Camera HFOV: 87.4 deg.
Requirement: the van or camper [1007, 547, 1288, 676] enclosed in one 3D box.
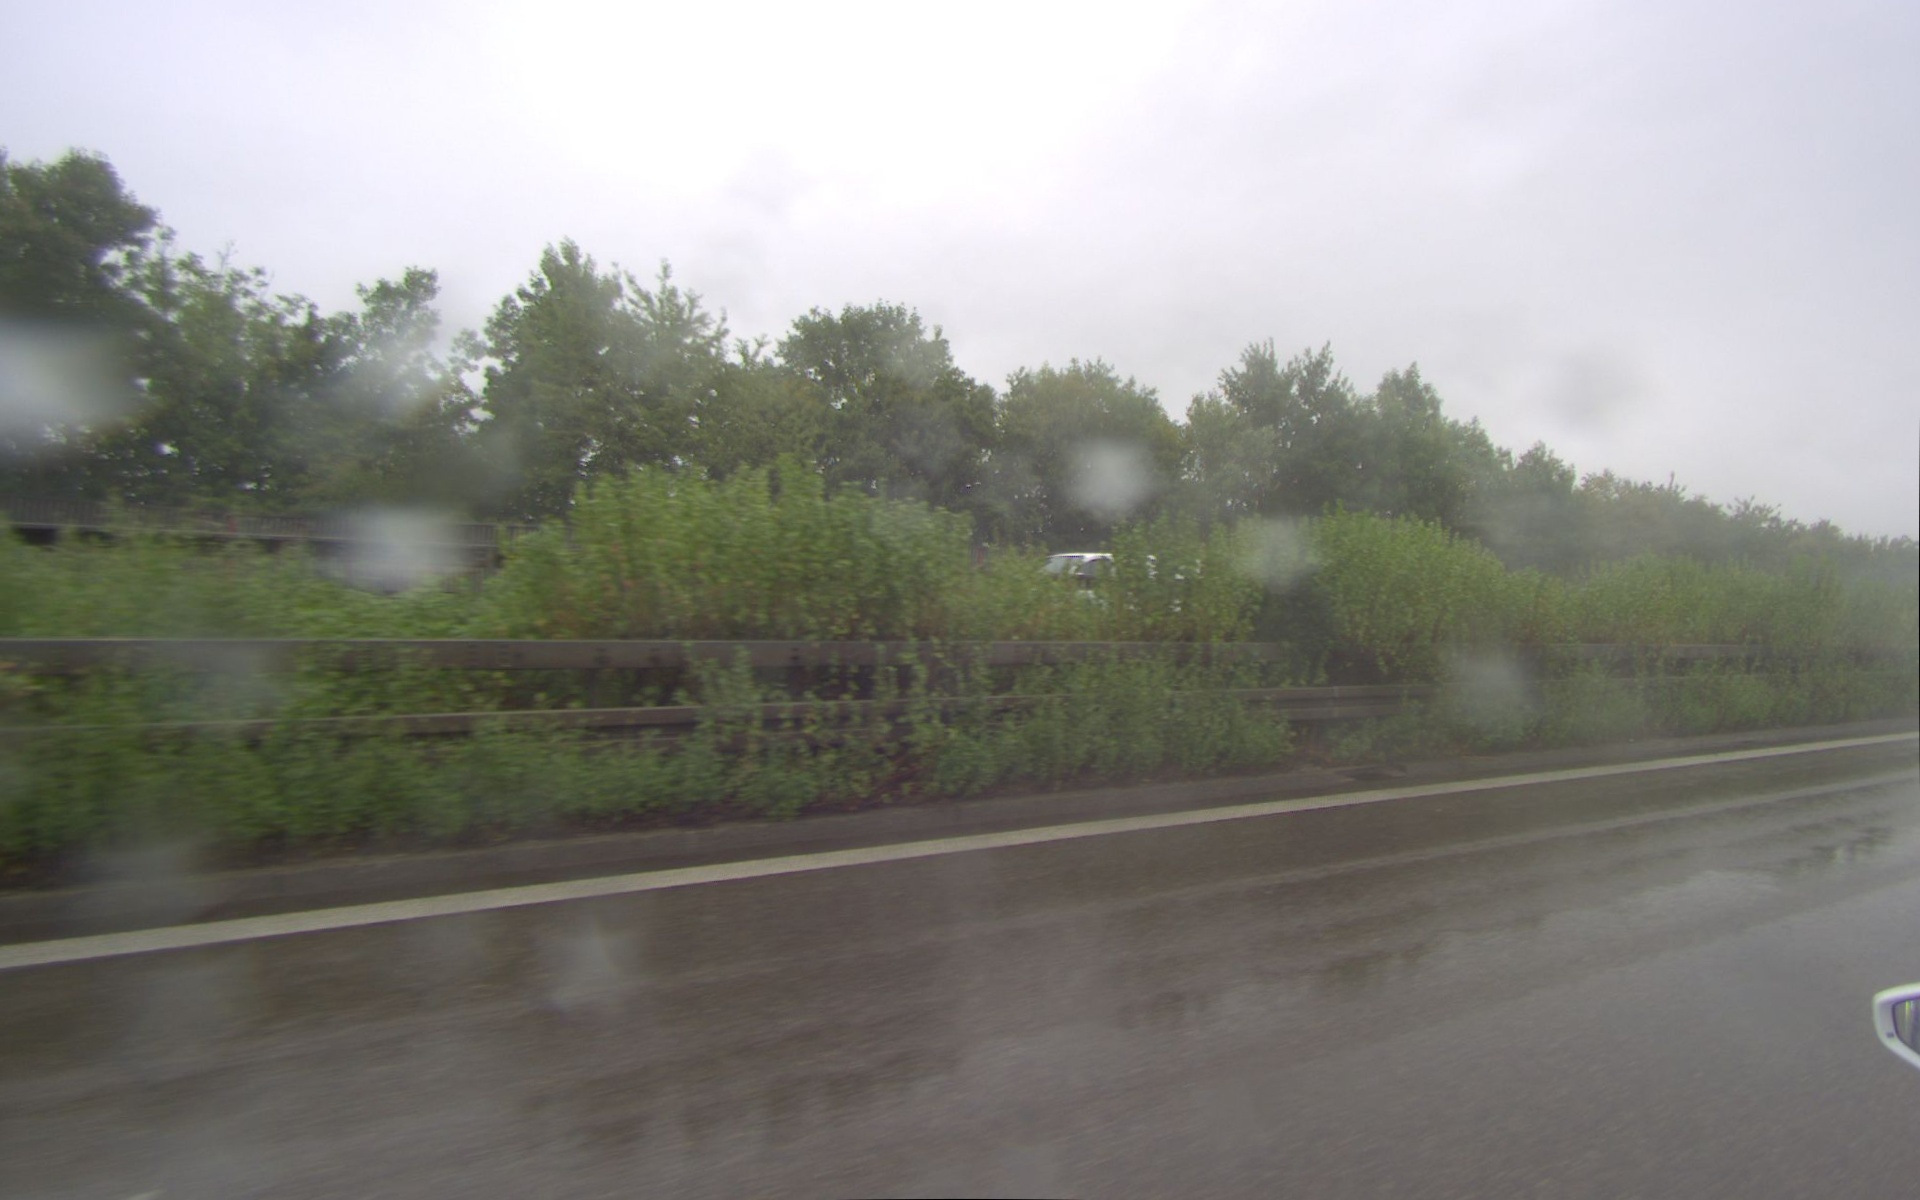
[{"bbox_3d":[4.088,0.277,21.522,5.823,2.441,2.273,2,0,-30],"label":"van or camper"}]
